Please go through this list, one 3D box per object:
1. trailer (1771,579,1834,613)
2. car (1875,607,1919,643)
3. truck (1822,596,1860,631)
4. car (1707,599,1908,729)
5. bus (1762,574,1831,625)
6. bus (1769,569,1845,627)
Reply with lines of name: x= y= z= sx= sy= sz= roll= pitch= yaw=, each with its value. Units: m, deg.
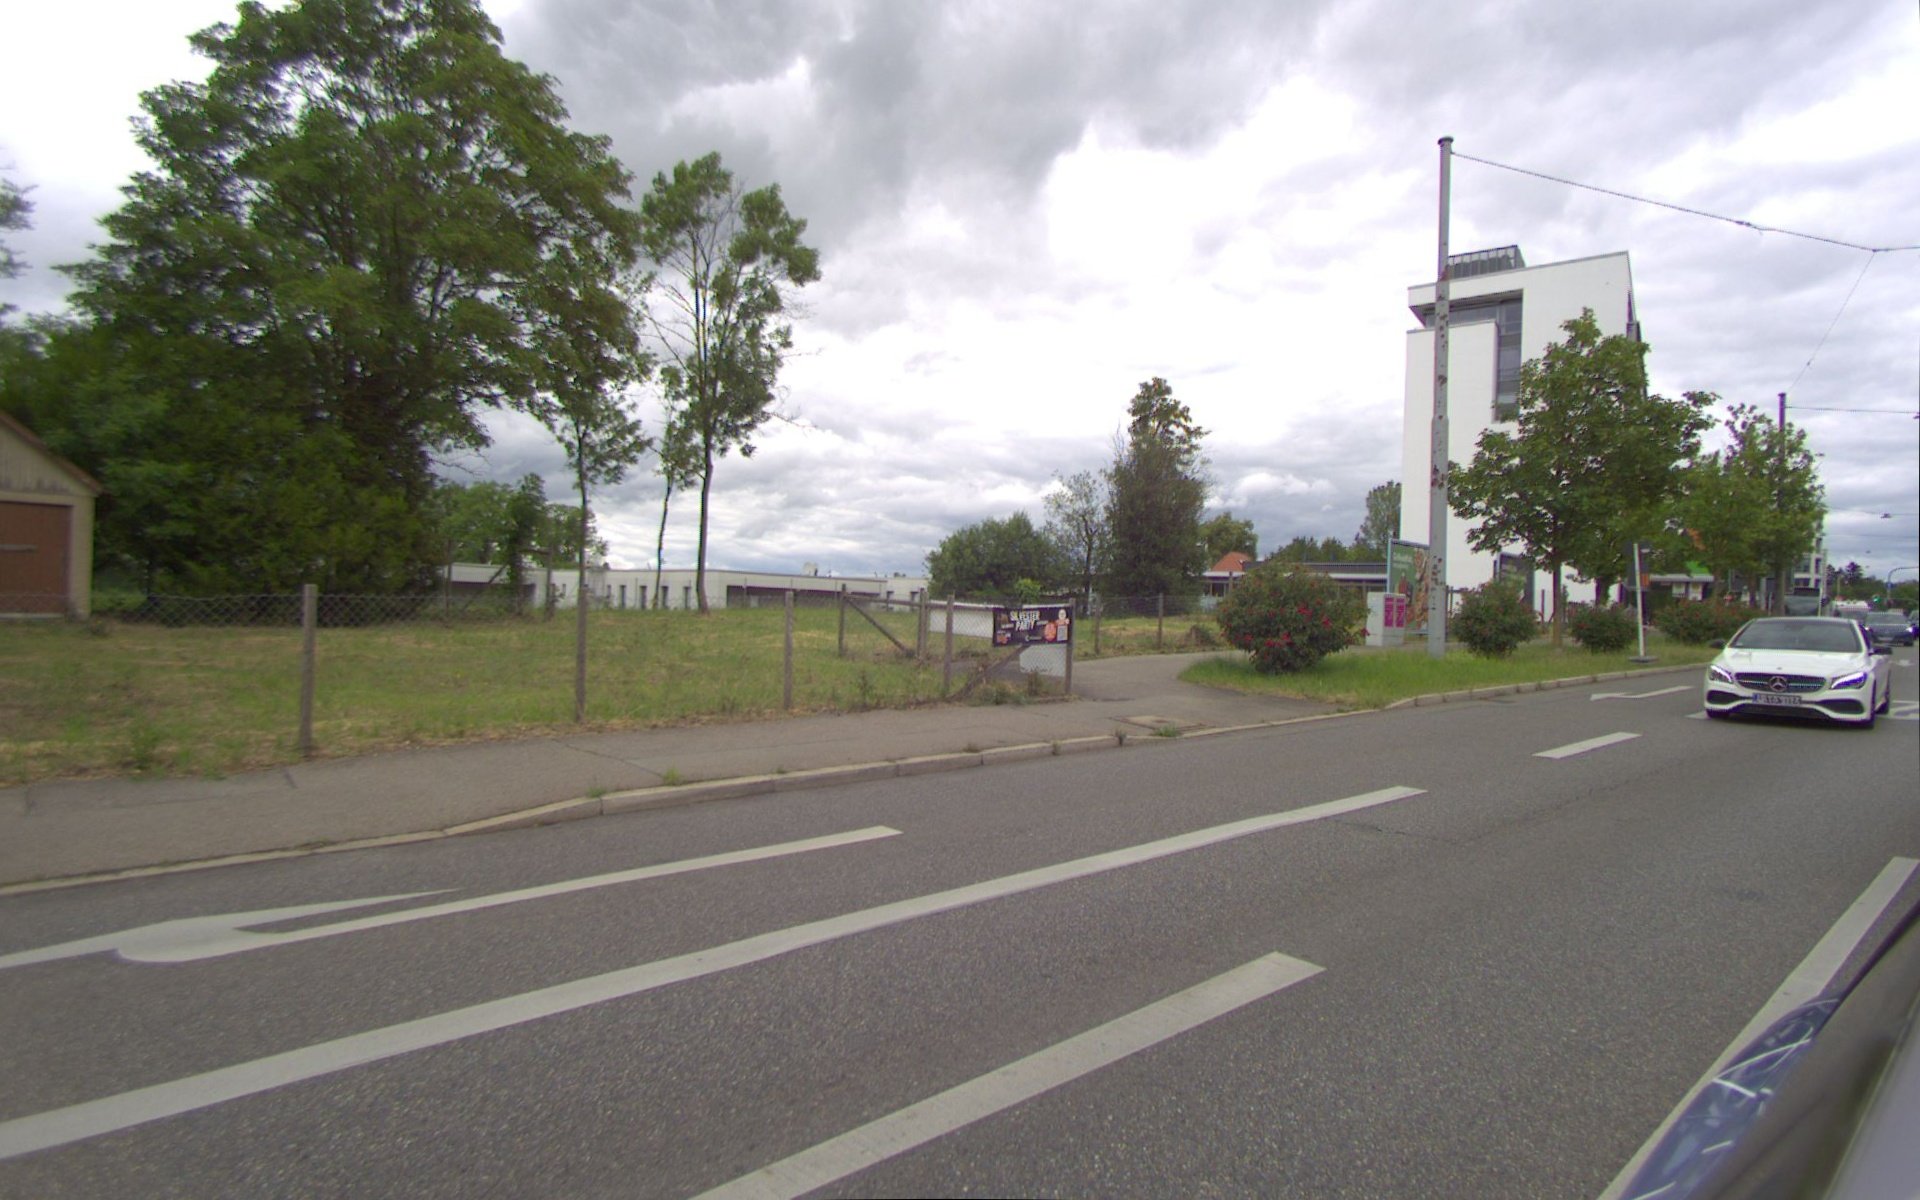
trailer: x=116.248 y=-0.447 z=139.886 sx=3.081 sy=4.324 sz=14.711 roll=2 pitch=-1 yaw=25
car: x=41.409 y=1.069 z=44.340 sx=4.297 sy=1.501 sz=1.732 roll=1 pitch=0 yaw=-45
truck: x=108.666 y=1.729 z=124.901 sx=2.934 sy=4.007 sz=9.035 roll=4 pitch=1 yaw=38
car: x=12.277 y=0.769 z=14.541 sx=1.868 sy=1.524 sz=4.696 roll=0 pitch=0 yaw=44
bus: x=57.456 y=0.001 z=69.709 sx=3.028 sy=3.276 sz=9.214 roll=2 pitch=0 yaw=36
bus: x=51.944 y=-0.122 z=62.277 sx=2.975 sy=3.282 sz=9.733 roll=1 pitch=0 yaw=37
